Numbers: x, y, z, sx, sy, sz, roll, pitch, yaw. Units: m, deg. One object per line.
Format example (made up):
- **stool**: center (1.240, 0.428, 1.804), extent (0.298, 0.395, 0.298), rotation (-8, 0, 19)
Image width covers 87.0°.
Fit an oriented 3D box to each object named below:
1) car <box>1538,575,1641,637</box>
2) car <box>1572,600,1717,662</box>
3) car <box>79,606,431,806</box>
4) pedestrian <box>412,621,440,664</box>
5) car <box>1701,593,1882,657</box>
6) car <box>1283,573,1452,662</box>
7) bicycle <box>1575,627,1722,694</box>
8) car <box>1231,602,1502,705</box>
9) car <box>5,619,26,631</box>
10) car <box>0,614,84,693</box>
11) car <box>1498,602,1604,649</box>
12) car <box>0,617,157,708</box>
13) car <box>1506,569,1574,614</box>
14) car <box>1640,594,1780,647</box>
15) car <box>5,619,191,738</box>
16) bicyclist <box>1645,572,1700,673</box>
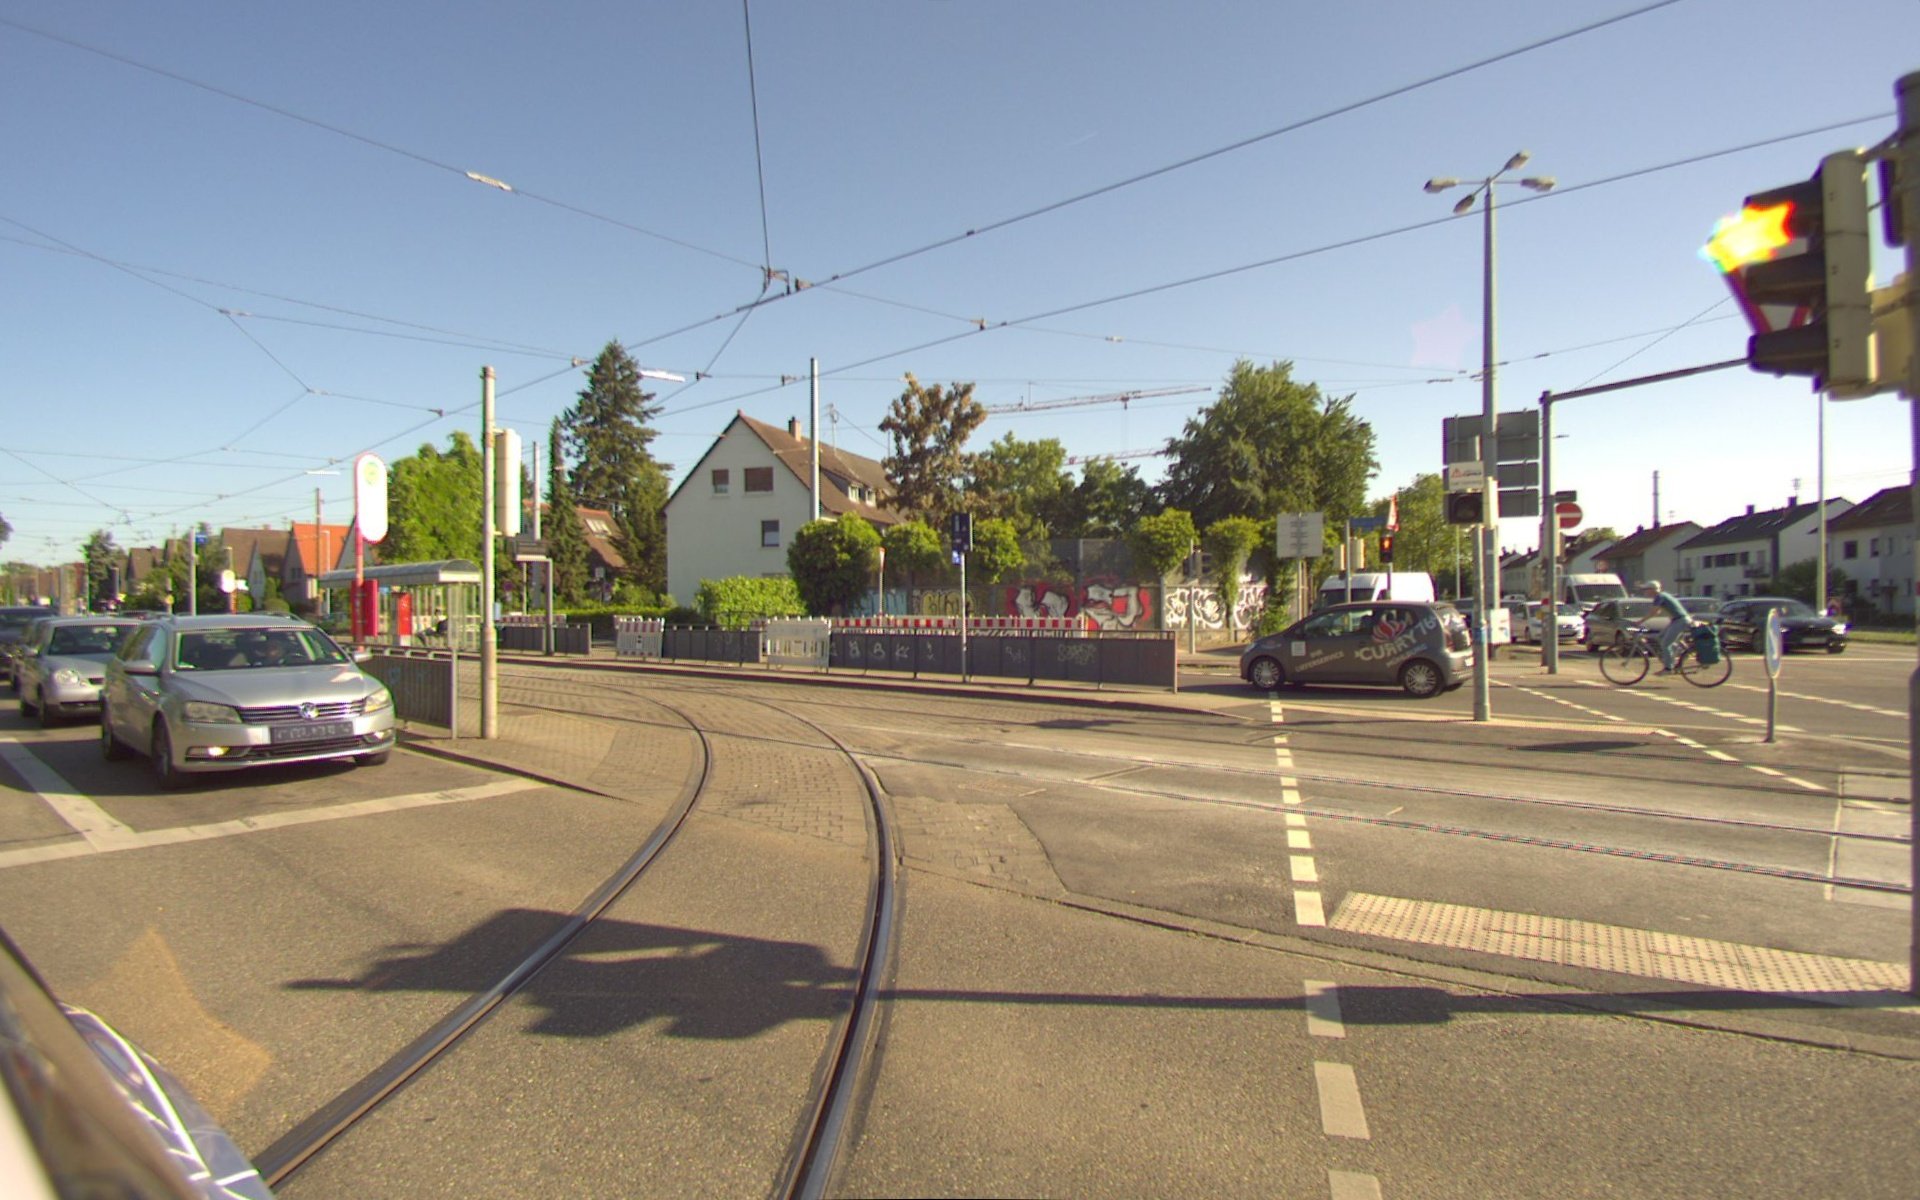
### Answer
- **car**: center (26.611, 0.293, 43.040), extent (2.162, 2.429, 5.890), rotation (-1, -1, 16)
- **car**: center (17.968, 0.794, 26.834), extent (1.656, 1.488, 4.615), rotation (-1, -1, 14)
- **car**: center (-7.084, 0.866, 9.983), extent (4.419, 1.539, 1.857), rotation (-1, -1, 41)
- **pedestrian**: center (-18.327, 1.449, 34.736), extent (0.711, 1.425, 0.615), rotation (-2, -1, 40)
- **car**: center (21.206, 0.618, 26.053), extent (1.920, 1.477, 4.229), rotation (-1, -1, 14)
- **car**: center (12.779, 0.523, 31.422), extent (6.769, 2.476, 2.350), rotation (0, -1, -45)
- **bicycle**: center (11.381, 0.982, 16.778), extent (1.948, 1.050, 0.502), rotation (-2, -1, 42)
- **car**: center (6.458, 0.804, 16.250), extent (3.700, 1.469, 1.666), rotation (-2, -1, 40)
- **car**: center (-137.879, 3.623, 147.775), extent (4.000, 1.785, 1.972), rotation (-2, -1, 43)
- **car**: center (-22.133, 1.210, 23.711), extent (4.298, 1.709, 1.861), rotation (-1, -1, 41)
- **car**: center (19.975, 0.844, 34.408), extent (1.920, 1.477, 4.345), rotation (-1, -1, 14)
- **car**: center (-17.007, 1.124, 19.386), extent (4.191, 1.546, 1.733), rotation (-1, -1, 40)
- **car**: center (27.962, -0.355, 48.922), extent (1.791, 2.029, 3.982), rotation (-1, -1, 14)
- **car**: center (23.029, 0.627, 31.297), extent (1.920, 1.477, 4.239), rotation (-2, -1, 14)
- **car**: center (-12.413, 1.041, 14.521), extent (3.413, 1.479, 1.565), rotation (-2, -1, 41)
- **bicyclist**: center (11.648, 0.364, 16.552), extent (0.648, 1.620, 0.484), rotation (-2, -2, 42)
